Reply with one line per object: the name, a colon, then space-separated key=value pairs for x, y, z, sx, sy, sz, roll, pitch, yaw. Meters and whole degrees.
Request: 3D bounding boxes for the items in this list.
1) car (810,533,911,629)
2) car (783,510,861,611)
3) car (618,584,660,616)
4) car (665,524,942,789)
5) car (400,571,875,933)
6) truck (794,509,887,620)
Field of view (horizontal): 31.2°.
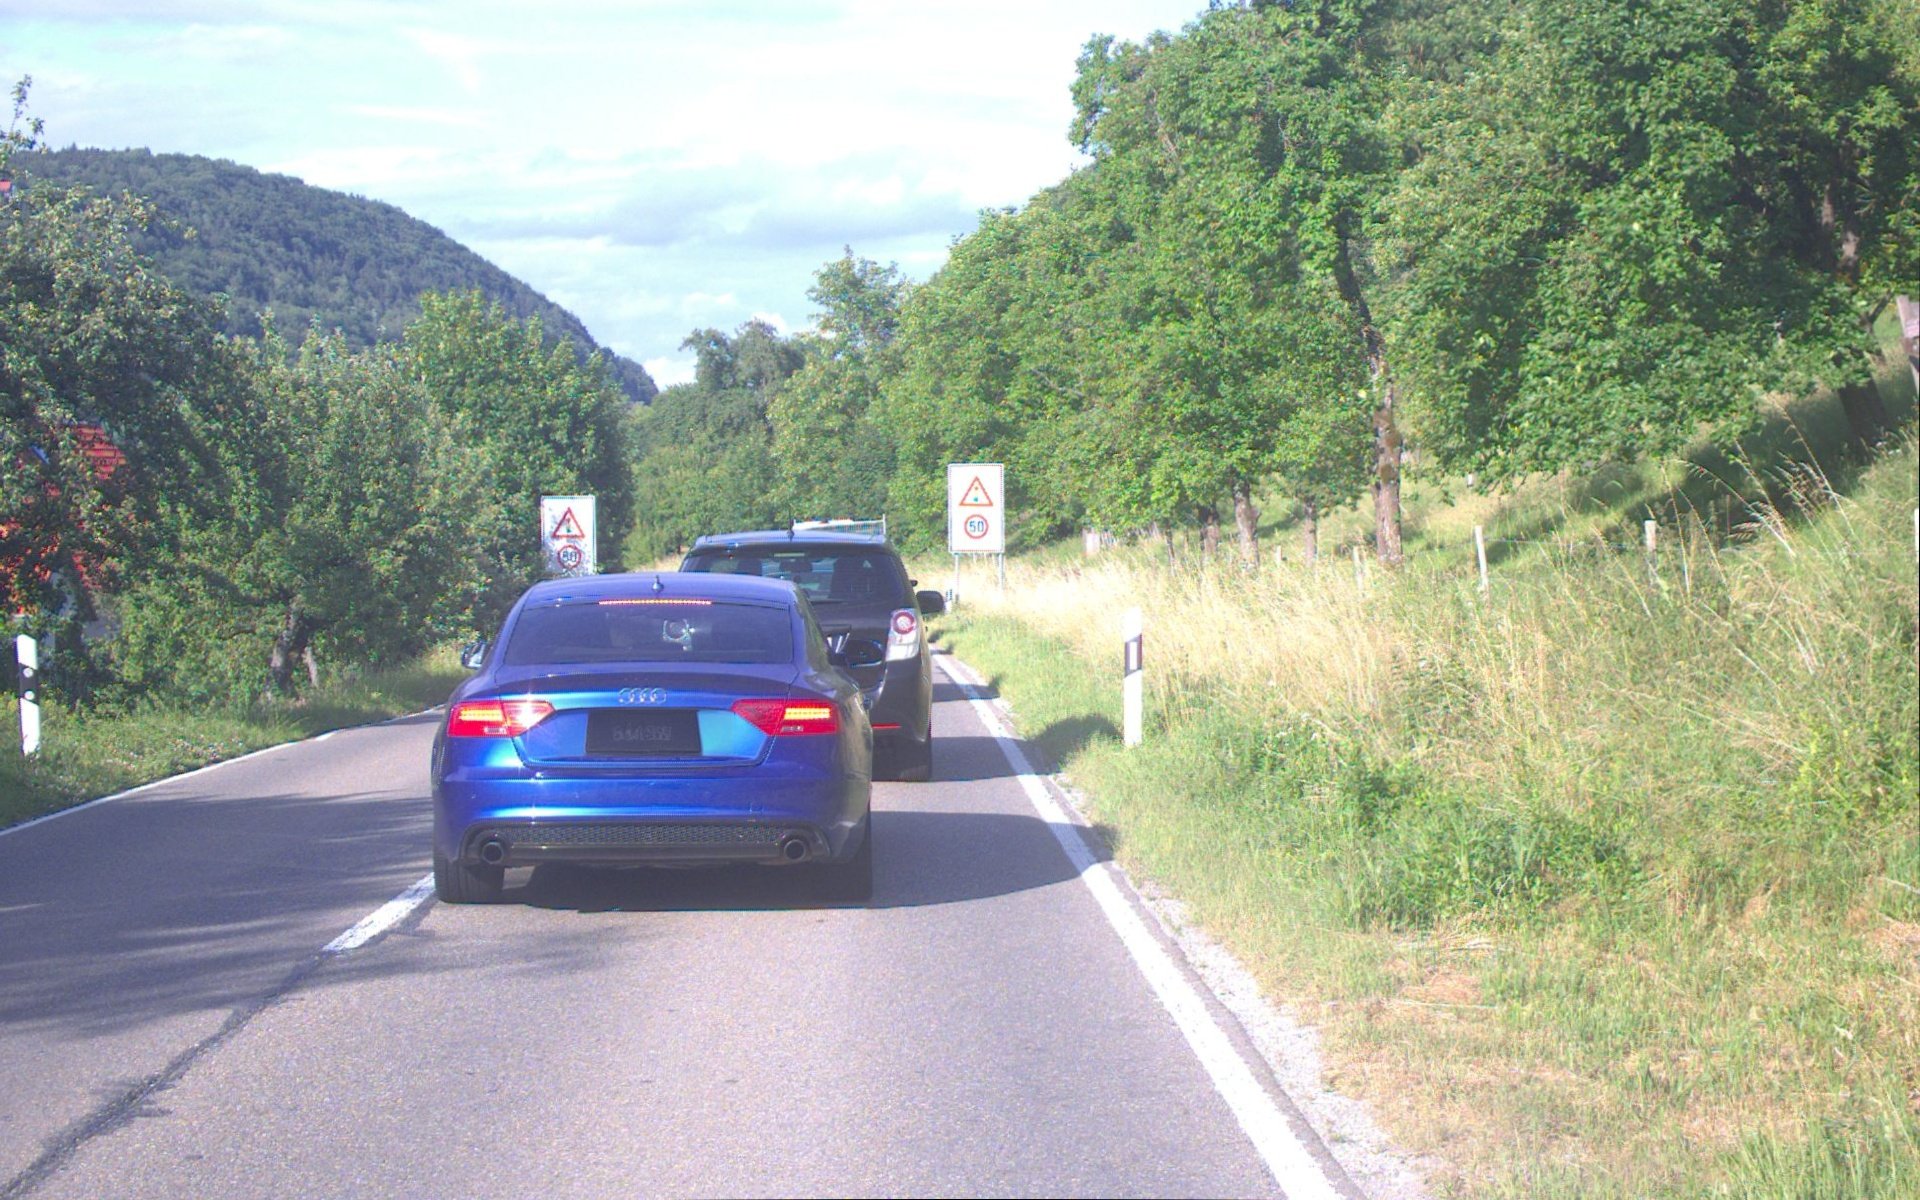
car: x=-1.743 y=-0.354 z=59.898 sx=1.692 sy=1.618 sz=3.789 roll=0 pitch=1 yaw=-2
car: x=-3.503 y=-0.999 z=86.713 sx=1.792 sy=2.445 sz=3.920 roll=1 pitch=1 yaw=-4
car: x=-16.069 y=-0.005 z=172.008 sx=1.558 sy=1.490 sz=3.779 roll=1 pitch=1 yaw=-14
car: x=-1.017 y=0.312 z=23.002 sx=1.692 sy=1.618 sz=3.789 roll=0 pitch=1 yaw=-2
car: x=-1.290 y=0.567 z=15.332 sx=1.805 sy=1.377 sz=4.215 roll=0 pitch=0 yaw=-1
truck: x=-2.673 y=-0.798 z=76.267 sx=1.950 sy=2.337 sz=5.094 roll=1 pitch=1 yaw=-2
